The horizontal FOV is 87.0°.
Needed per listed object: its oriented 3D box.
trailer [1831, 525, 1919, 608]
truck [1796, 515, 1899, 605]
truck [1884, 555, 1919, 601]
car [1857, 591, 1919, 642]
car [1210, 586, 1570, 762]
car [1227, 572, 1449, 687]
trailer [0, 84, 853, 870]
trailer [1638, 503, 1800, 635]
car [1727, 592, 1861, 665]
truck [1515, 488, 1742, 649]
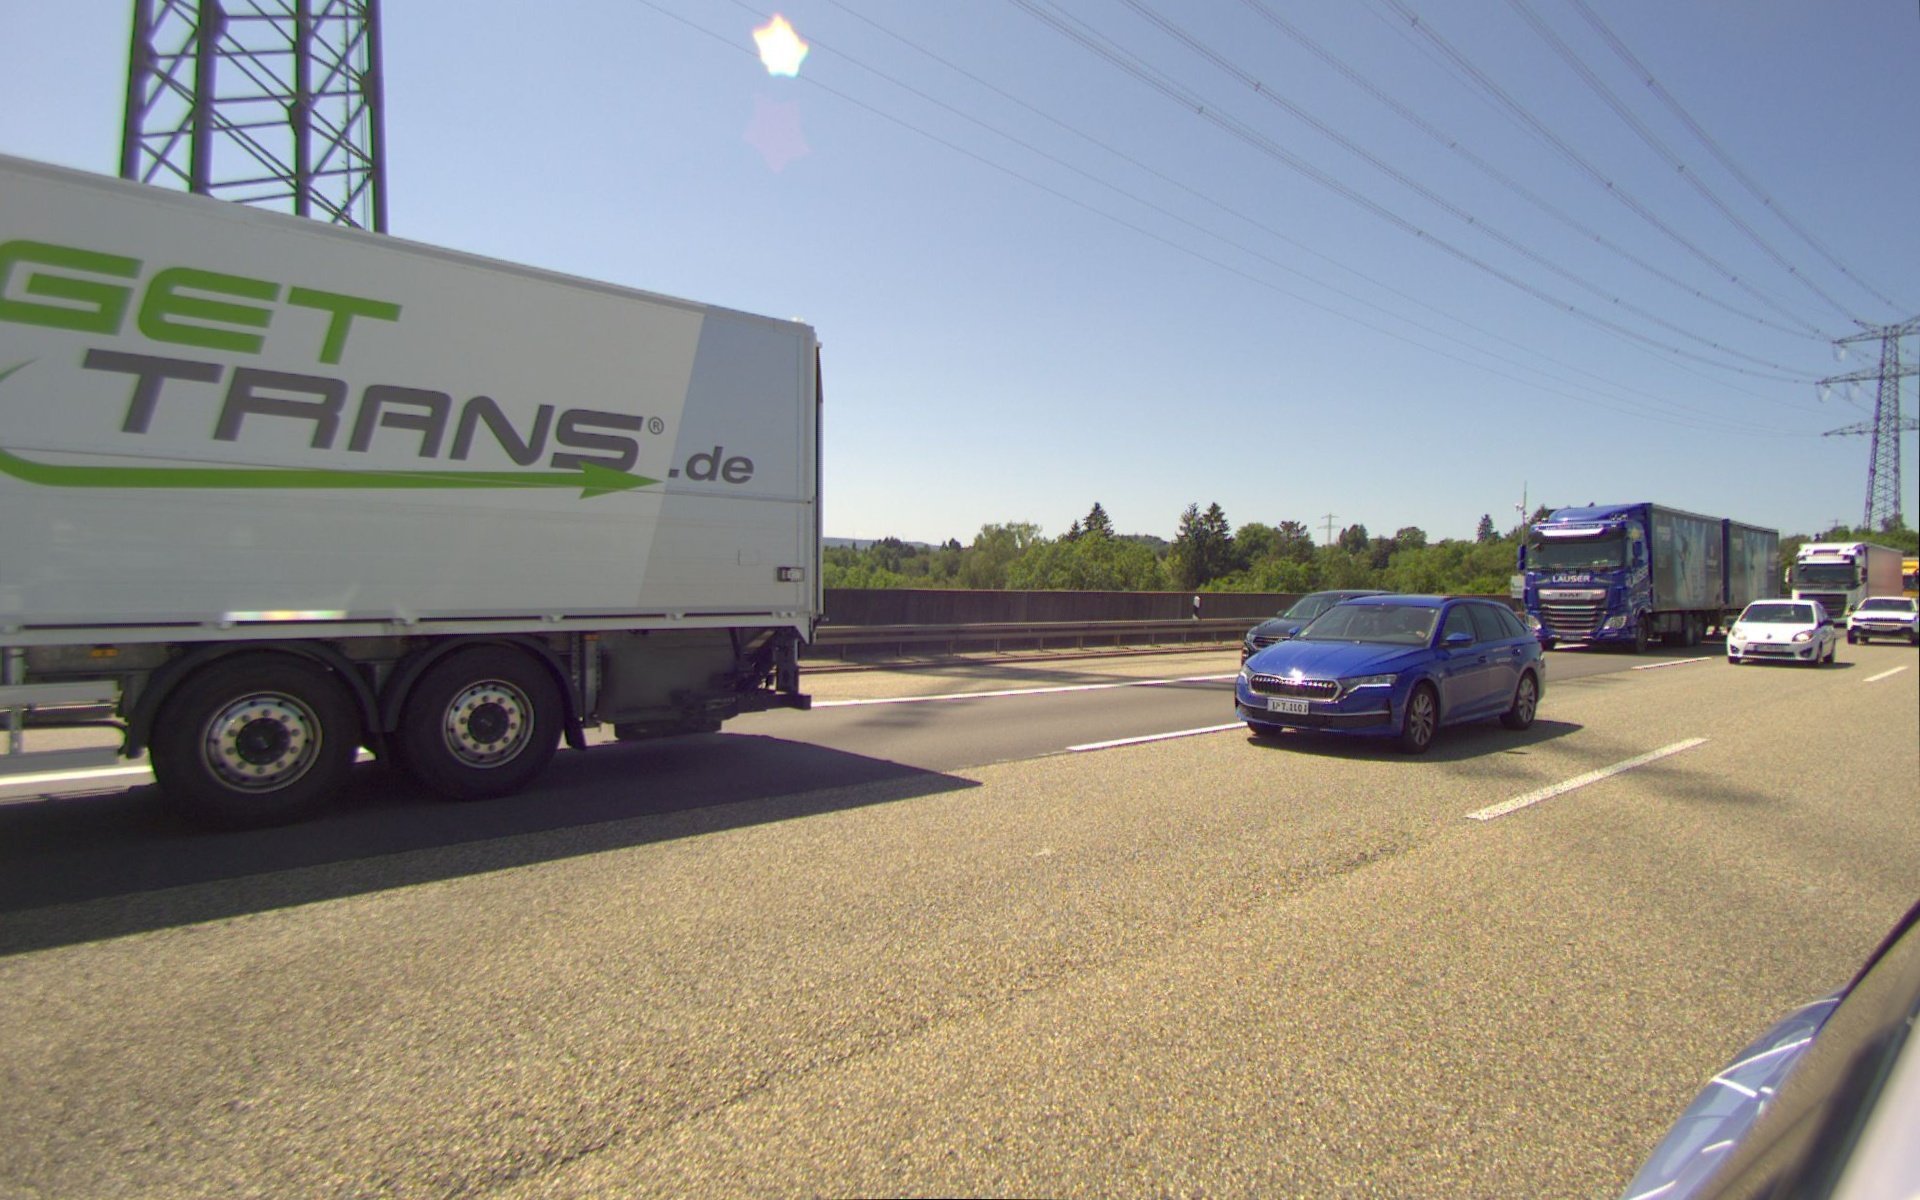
[{"bbox_3d":[49.980,-1.761,55.052,8.925,4.169,2.607,-1,0,-40],"label":"trailer"},{"bbox_3d":[43.502,-1.878,49.488,8.119,4.037,2.607,-1,0,-40],"label":"truck"},{"bbox_3d":[66.002,-1.518,70.124,6.139,3.018,2.249,-1,4,-43],"label":"truck"},{"bbox_3d":[30.291,0.480,32.478,4.072,1.528,1.711,-1,1,-41],"label":"car"},{"bbox_3d":[4.705,0.605,10.731,4.483,1.470,1.711,-1,1,-41],"label":"car"},{"bbox_3d":[6.331,0.400,16.762,4.046,1.675,1.711,-1,1,-41],"label":"car"},{"bbox_3d":[-4.874,-0.643,6.972,8.073,3.940,2.903,-1,1,-42],"label":"trailer"},{"bbox_3d":[26.921,-1.043,35.703,8.487,4.140,2.833,-1,0,-41],"label":"trailer"},{"bbox_3d":[19.140,0.585,23.173,4.072,1.470,1.711,-1,1,-41],"label":"car"},{"bbox_3d":[19.809,-0.864,29.605,10.212,3.999,2.857,-1,1,-41],"label":"truck"}]
